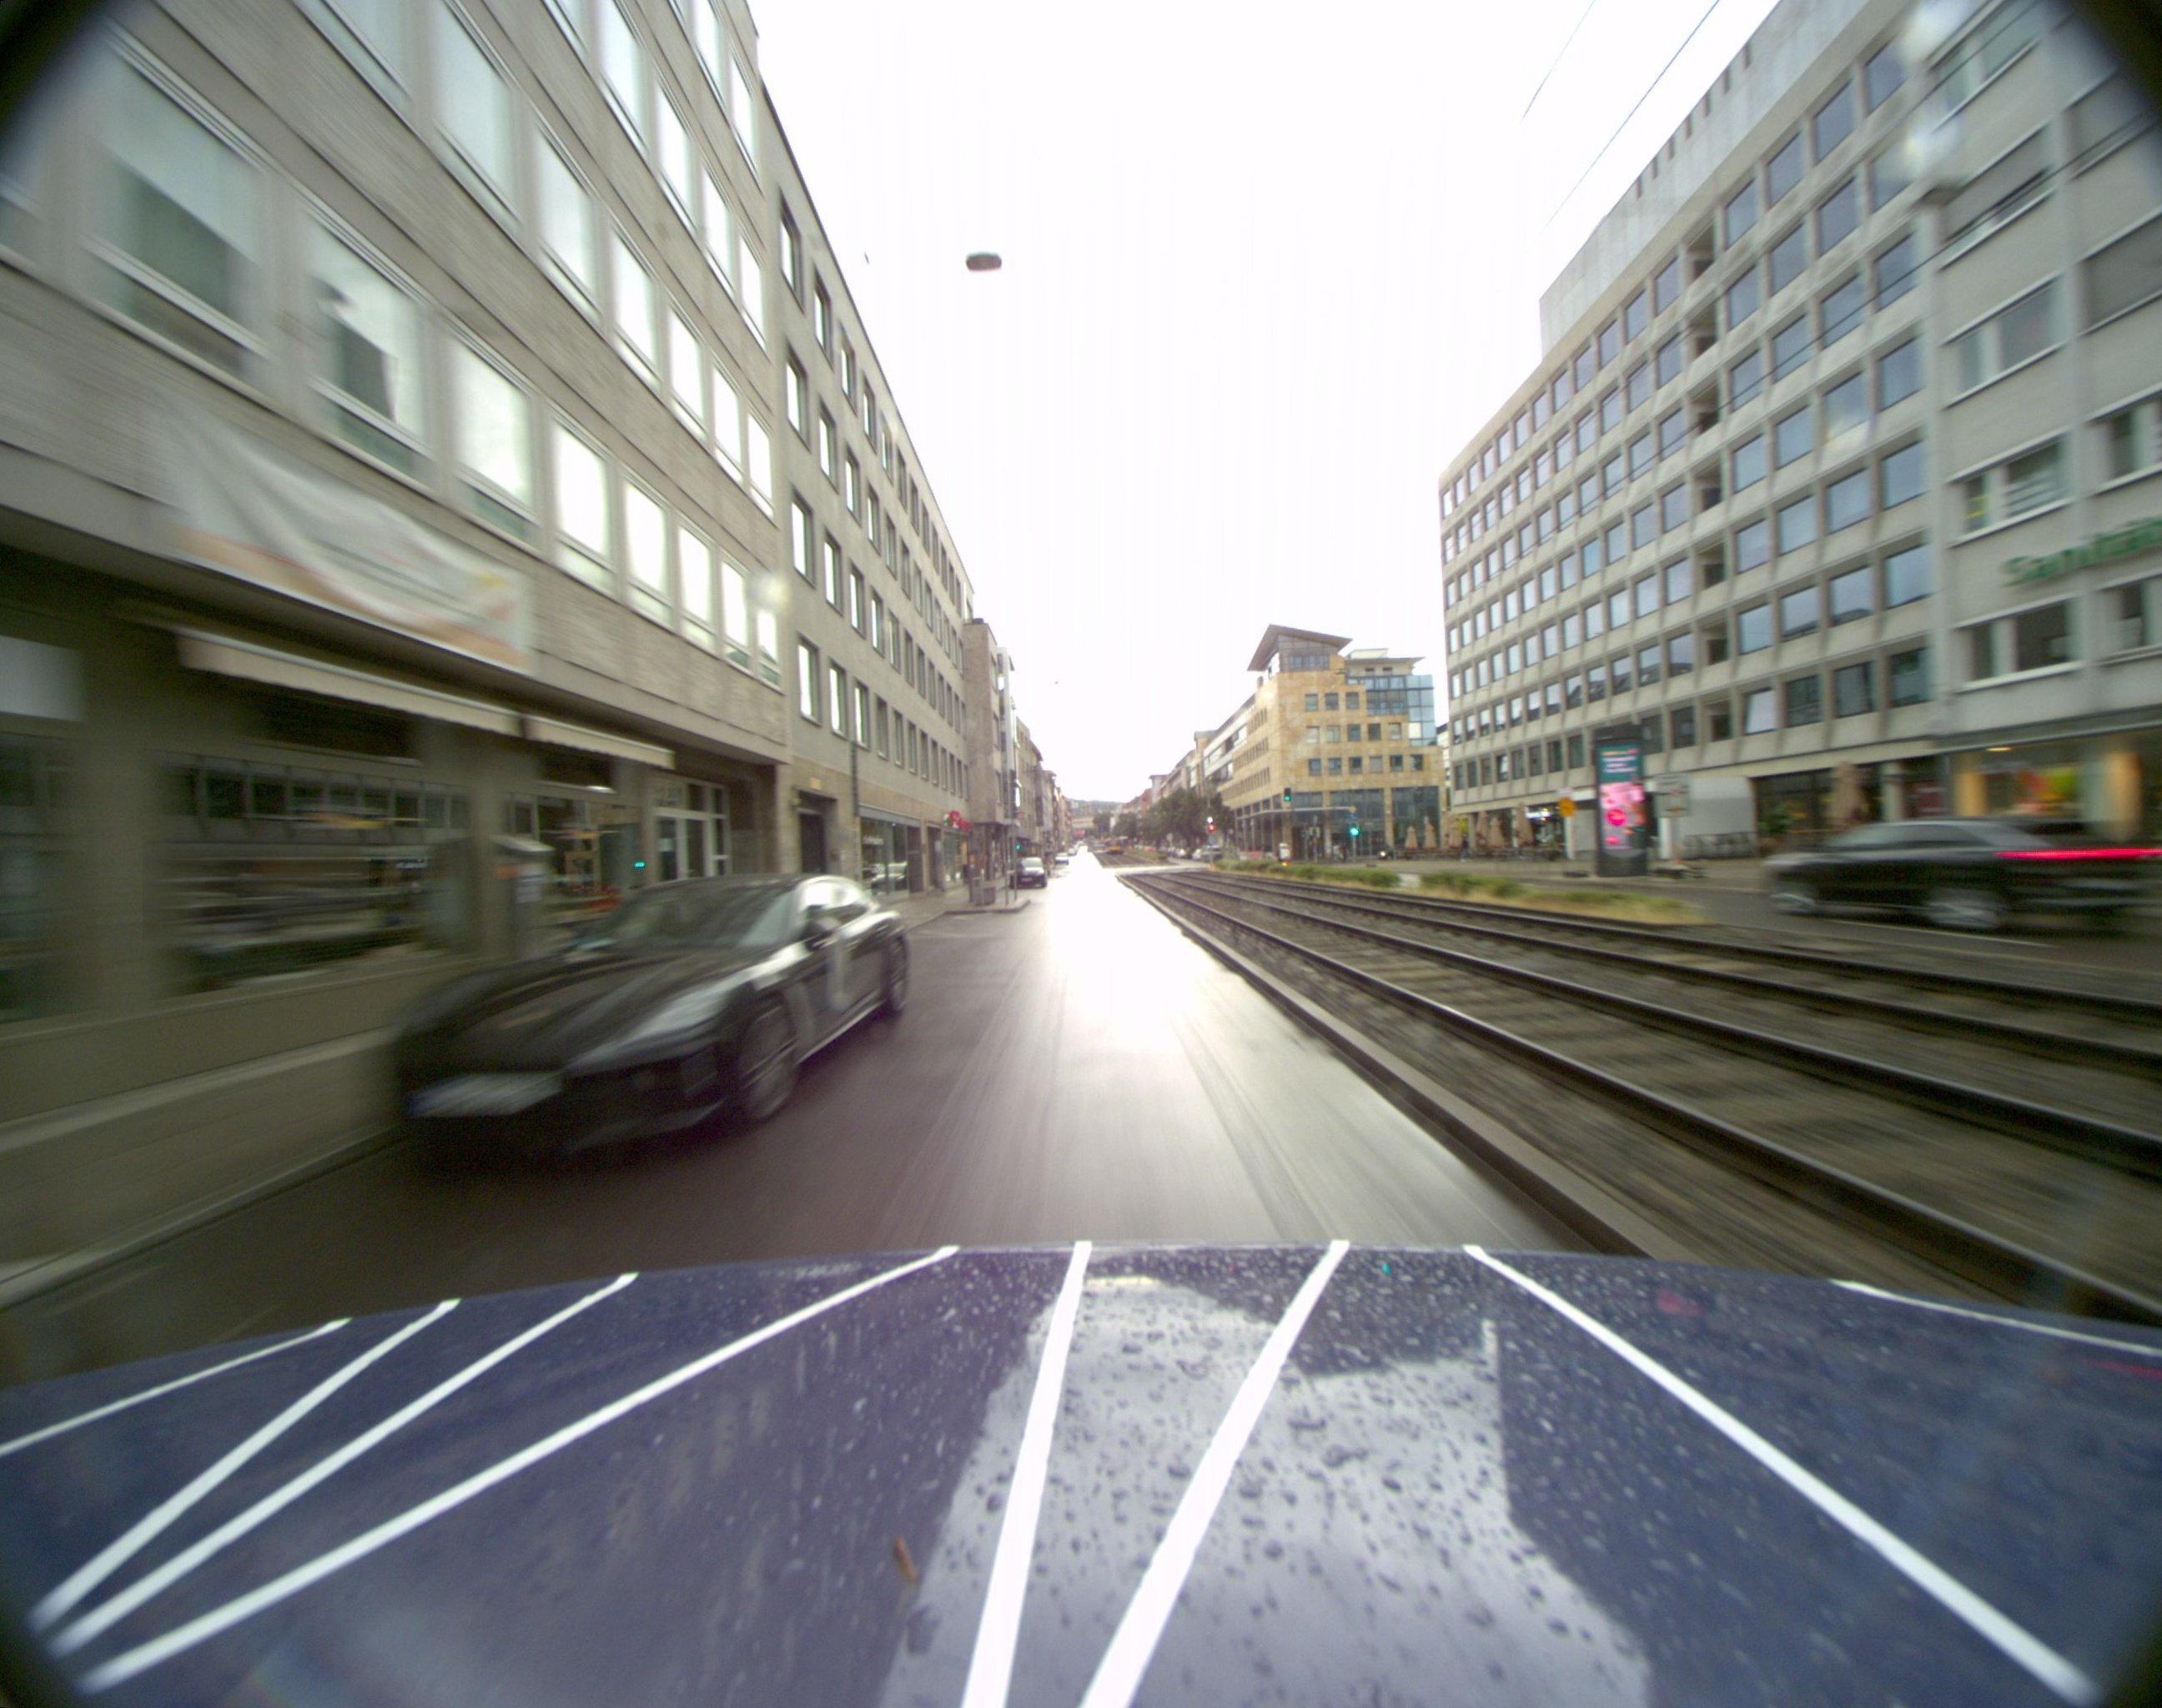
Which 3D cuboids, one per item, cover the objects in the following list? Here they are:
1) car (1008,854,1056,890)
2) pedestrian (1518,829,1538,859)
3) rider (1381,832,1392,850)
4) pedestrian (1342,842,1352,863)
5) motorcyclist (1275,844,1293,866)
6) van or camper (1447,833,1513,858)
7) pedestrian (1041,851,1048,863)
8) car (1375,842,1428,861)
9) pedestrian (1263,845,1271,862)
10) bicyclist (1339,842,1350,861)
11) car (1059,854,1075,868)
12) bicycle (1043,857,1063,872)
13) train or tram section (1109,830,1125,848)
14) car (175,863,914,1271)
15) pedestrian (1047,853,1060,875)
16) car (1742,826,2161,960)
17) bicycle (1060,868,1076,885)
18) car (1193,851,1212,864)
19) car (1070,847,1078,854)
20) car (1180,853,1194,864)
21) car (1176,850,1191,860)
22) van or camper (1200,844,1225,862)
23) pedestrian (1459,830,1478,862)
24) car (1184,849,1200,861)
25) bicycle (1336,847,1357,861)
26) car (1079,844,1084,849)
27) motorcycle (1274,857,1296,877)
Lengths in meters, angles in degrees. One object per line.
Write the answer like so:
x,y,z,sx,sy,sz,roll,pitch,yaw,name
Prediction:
-2.356,0.822,37.763,1.998,1.584,4.271,-2,1,1,car
25.875,-0.576,43.948,0.566,1.738,0.844,-3,0,-4,pedestrian
29.511,-1.257,73.421,0.710,1.666,0.784,-3,0,0,rider
23.729,-0.132,67.774,0.677,1.770,0.705,-2,0,35,pedestrian
11.514,0.043,43.038,0.743,1.210,0.970,-3,1,2,motorcyclist
37.776,-0.804,71.960,5.095,2.050,2.096,-3,0,0,van or camper
-4.888,0.394,102.510,0.793,1.650,0.721,-3,1,0,pedestrian
29.255,-0.227,69.370,3.996,1.521,1.891,-3,0,2,car
20.286,-0.014,82.860,0.703,1.804,0.679,-3,0,3,pedestrian
25.378,-0.241,73.283,0.710,1.794,0.784,-3,0,0,bicyclist
-1.846,0.884,99.502,2.029,1.584,4.620,-2,1,0,car
-2.271,0.862,61.444,0.579,1.150,1.951,-3,1,-36,bicycle
8.442,-3.459,179.659,2.909,4.027,18.764,-2,1,1,train or tram section
-2.776,0.937,5.510,1.998,1.584,4.571,-2,1,1,car
-2.021,0.707,55.059,0.662,1.573,0.778,-2,1,-21,pedestrian
12.599,0.455,11.177,1.998,1.510,4.445,-3,0,4,car
-1.006,1.699,58.263,0.499,1.251,1.953,-3,1,-24,bicycle
15.682,0.452,98.226,1.693,1.477,4.255,-3,0,-1,car
-1.562,-0.840,167.279,1.653,1.489,4.067,-2,1,1,car
15.817,0.656,113.620,1.653,1.489,4.192,-2,1,1,car
16.027,0.106,118.945,1.653,1.489,4.292,-2,1,1,car
15.629,-0.157,90.446,2.022,1.986,5.196,-3,1,1,van or camper
22.461,-0.484,44.081,0.566,1.812,0.844,-3,0,-4,pedestrian
15.856,0.157,108.646,1.693,1.477,4.000,-3,0,-1,car
25.575,0.003,73.270,1.768,1.303,0.660,-3,0,0,bicycle
0.147,-2.581,255.802,1.653,1.584,4.067,-2,1,1,car
11.554,0.701,43.082,0.744,1.053,1.931,-3,0,2,motorcycle
